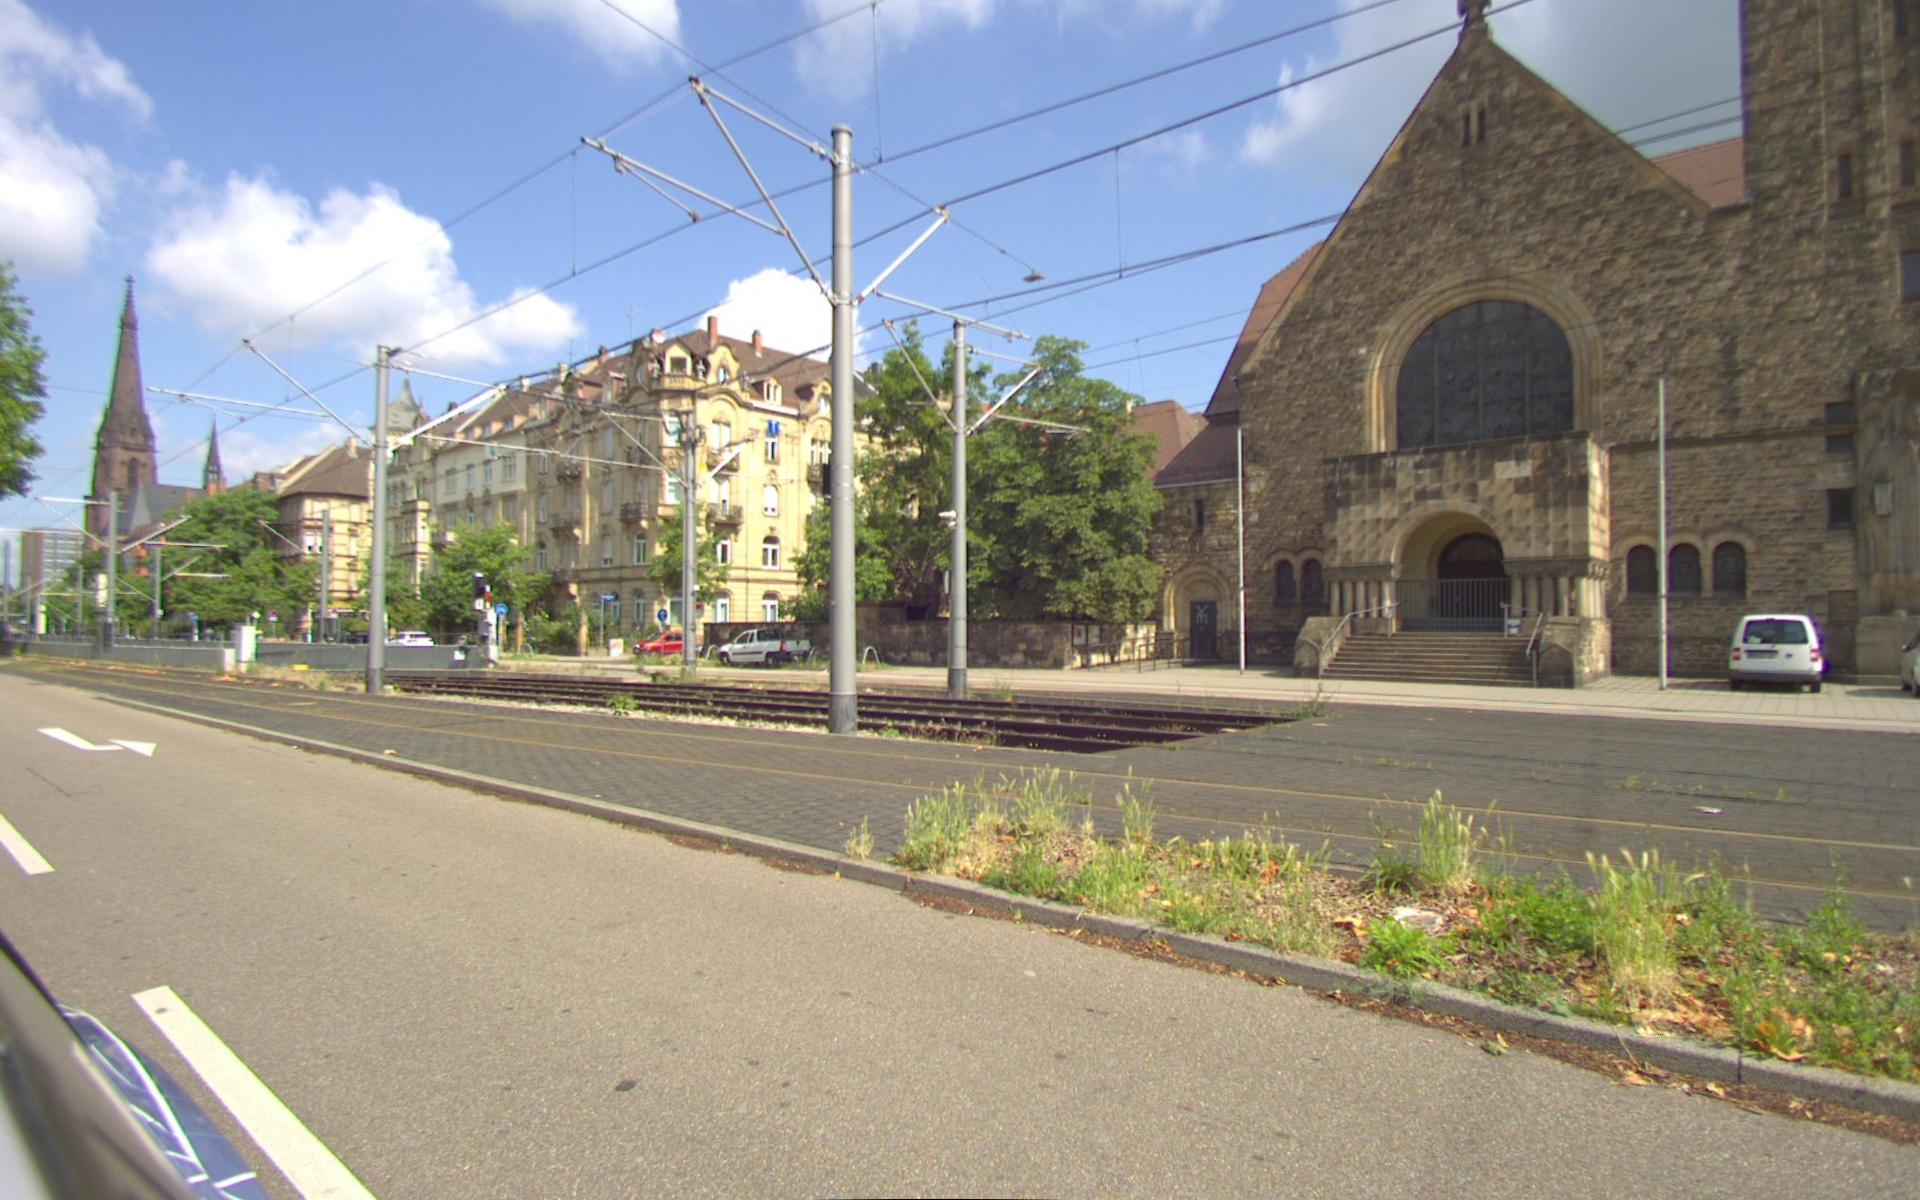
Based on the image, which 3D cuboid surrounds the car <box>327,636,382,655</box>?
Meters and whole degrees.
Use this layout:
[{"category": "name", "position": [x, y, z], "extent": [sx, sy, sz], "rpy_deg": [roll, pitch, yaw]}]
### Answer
[{"category": "car", "position": [-42.368, 3.176, 70.826], "extent": [4.096, 1.337, 2.000], "rpy_deg": [-2, -3, 39]}]

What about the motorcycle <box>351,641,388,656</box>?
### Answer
[{"category": "motorcycle", "position": [-40.260, 3.320, 68.983], "extent": [1.416, 0.949, 1.742], "rpy_deg": [-2, -4, 39]}]

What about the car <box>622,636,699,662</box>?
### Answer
[{"category": "car", "position": [-17.104, 2.775, 57.860], "extent": [1.933, 1.475, 3.738], "rpy_deg": [-2, -3, 44]}]

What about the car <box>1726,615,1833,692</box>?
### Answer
[{"category": "car", "position": [20.183, 1.287, 25.033], "extent": [1.892, 1.762, 3.832], "rpy_deg": [-2, -3, 38]}]

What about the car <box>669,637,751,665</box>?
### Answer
[{"category": "car", "position": [-13.202, 2.682, 53.615], "extent": [1.723, 1.475, 3.921], "rpy_deg": [-2, -3, 41]}]

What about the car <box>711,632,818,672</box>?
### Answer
[{"category": "car", "position": [-7.957, 2.077, 41.050], "extent": [4.410, 1.516, 1.911], "rpy_deg": [-2, -3, 39]}]

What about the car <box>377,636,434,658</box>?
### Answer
[{"category": "car", "position": [-35.669, 2.993, 65.049], "extent": [4.308, 1.338, 1.734], "rpy_deg": [-2, -3, 39]}]

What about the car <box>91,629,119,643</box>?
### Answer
[{"category": "car", "position": [-104.181, 4.435, 123.348], "extent": [4.111, 1.650, 1.973], "rpy_deg": [-2, -3, 41]}]

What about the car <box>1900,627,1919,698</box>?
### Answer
[{"category": "car", "position": [22.147, 1.346, 22.284], "extent": [1.853, 1.514, 3.232], "rpy_deg": [-2, -3, 39]}]
